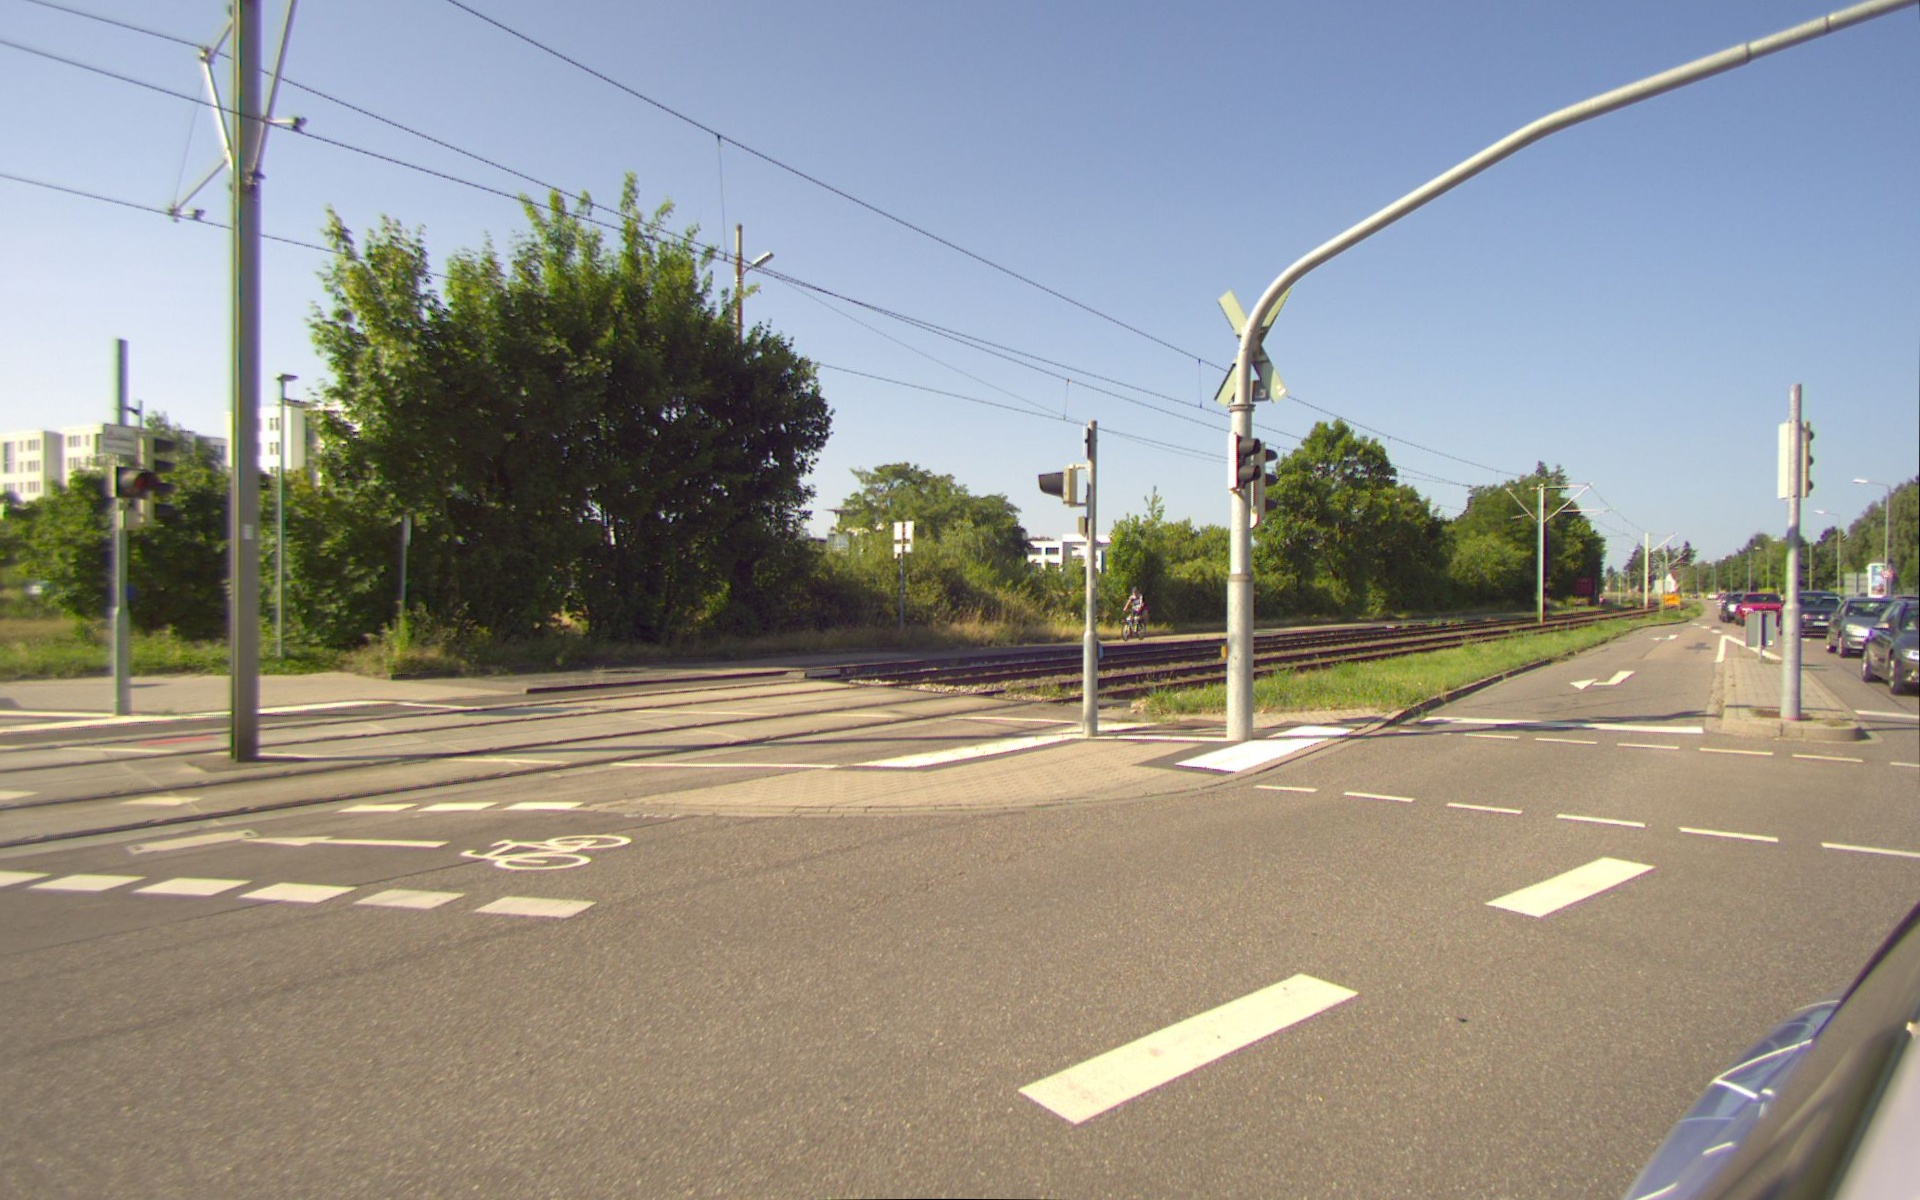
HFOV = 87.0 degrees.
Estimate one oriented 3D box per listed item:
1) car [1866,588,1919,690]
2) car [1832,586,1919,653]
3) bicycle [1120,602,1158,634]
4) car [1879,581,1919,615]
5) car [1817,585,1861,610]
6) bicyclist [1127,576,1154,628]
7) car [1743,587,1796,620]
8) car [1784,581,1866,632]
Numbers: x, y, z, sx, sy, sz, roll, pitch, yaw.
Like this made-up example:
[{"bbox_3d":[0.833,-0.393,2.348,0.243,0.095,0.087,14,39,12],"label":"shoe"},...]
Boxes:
[{"bbox_3d":[15.711,0.567,15.843,1.812,1.442,4.403,2,2,36],"label":"car"},{"bbox_3d":[22.924,0.411,24.934,1.811,1.508,4.551,1,1,36],"label":"car"},{"bbox_3d":[6.307,0.607,35.522,0.544,1.060,1.849,0,1,37],"label":"bicycle"},{"bbox_3d":[46.056,-0.106,48.918,1.738,1.581,3.954,3,2,32],"label":"car"},{"bbox_3d":[56.349,-0.162,64.914,1.698,1.483,4.313,3,2,36],"label":"car"},{"bbox_3d":[6.351,0.061,35.563,0.704,1.830,0.708,0,0,38],"label":"bicyclist"},{"bbox_3d":[38.602,0.134,48.357,1.798,1.525,4.142,1,1,36],"label":"car"},{"bbox_3d":[30.237,0.199,35.481,1.811,1.672,4.551,-1,0,36],"label":"car"}]
